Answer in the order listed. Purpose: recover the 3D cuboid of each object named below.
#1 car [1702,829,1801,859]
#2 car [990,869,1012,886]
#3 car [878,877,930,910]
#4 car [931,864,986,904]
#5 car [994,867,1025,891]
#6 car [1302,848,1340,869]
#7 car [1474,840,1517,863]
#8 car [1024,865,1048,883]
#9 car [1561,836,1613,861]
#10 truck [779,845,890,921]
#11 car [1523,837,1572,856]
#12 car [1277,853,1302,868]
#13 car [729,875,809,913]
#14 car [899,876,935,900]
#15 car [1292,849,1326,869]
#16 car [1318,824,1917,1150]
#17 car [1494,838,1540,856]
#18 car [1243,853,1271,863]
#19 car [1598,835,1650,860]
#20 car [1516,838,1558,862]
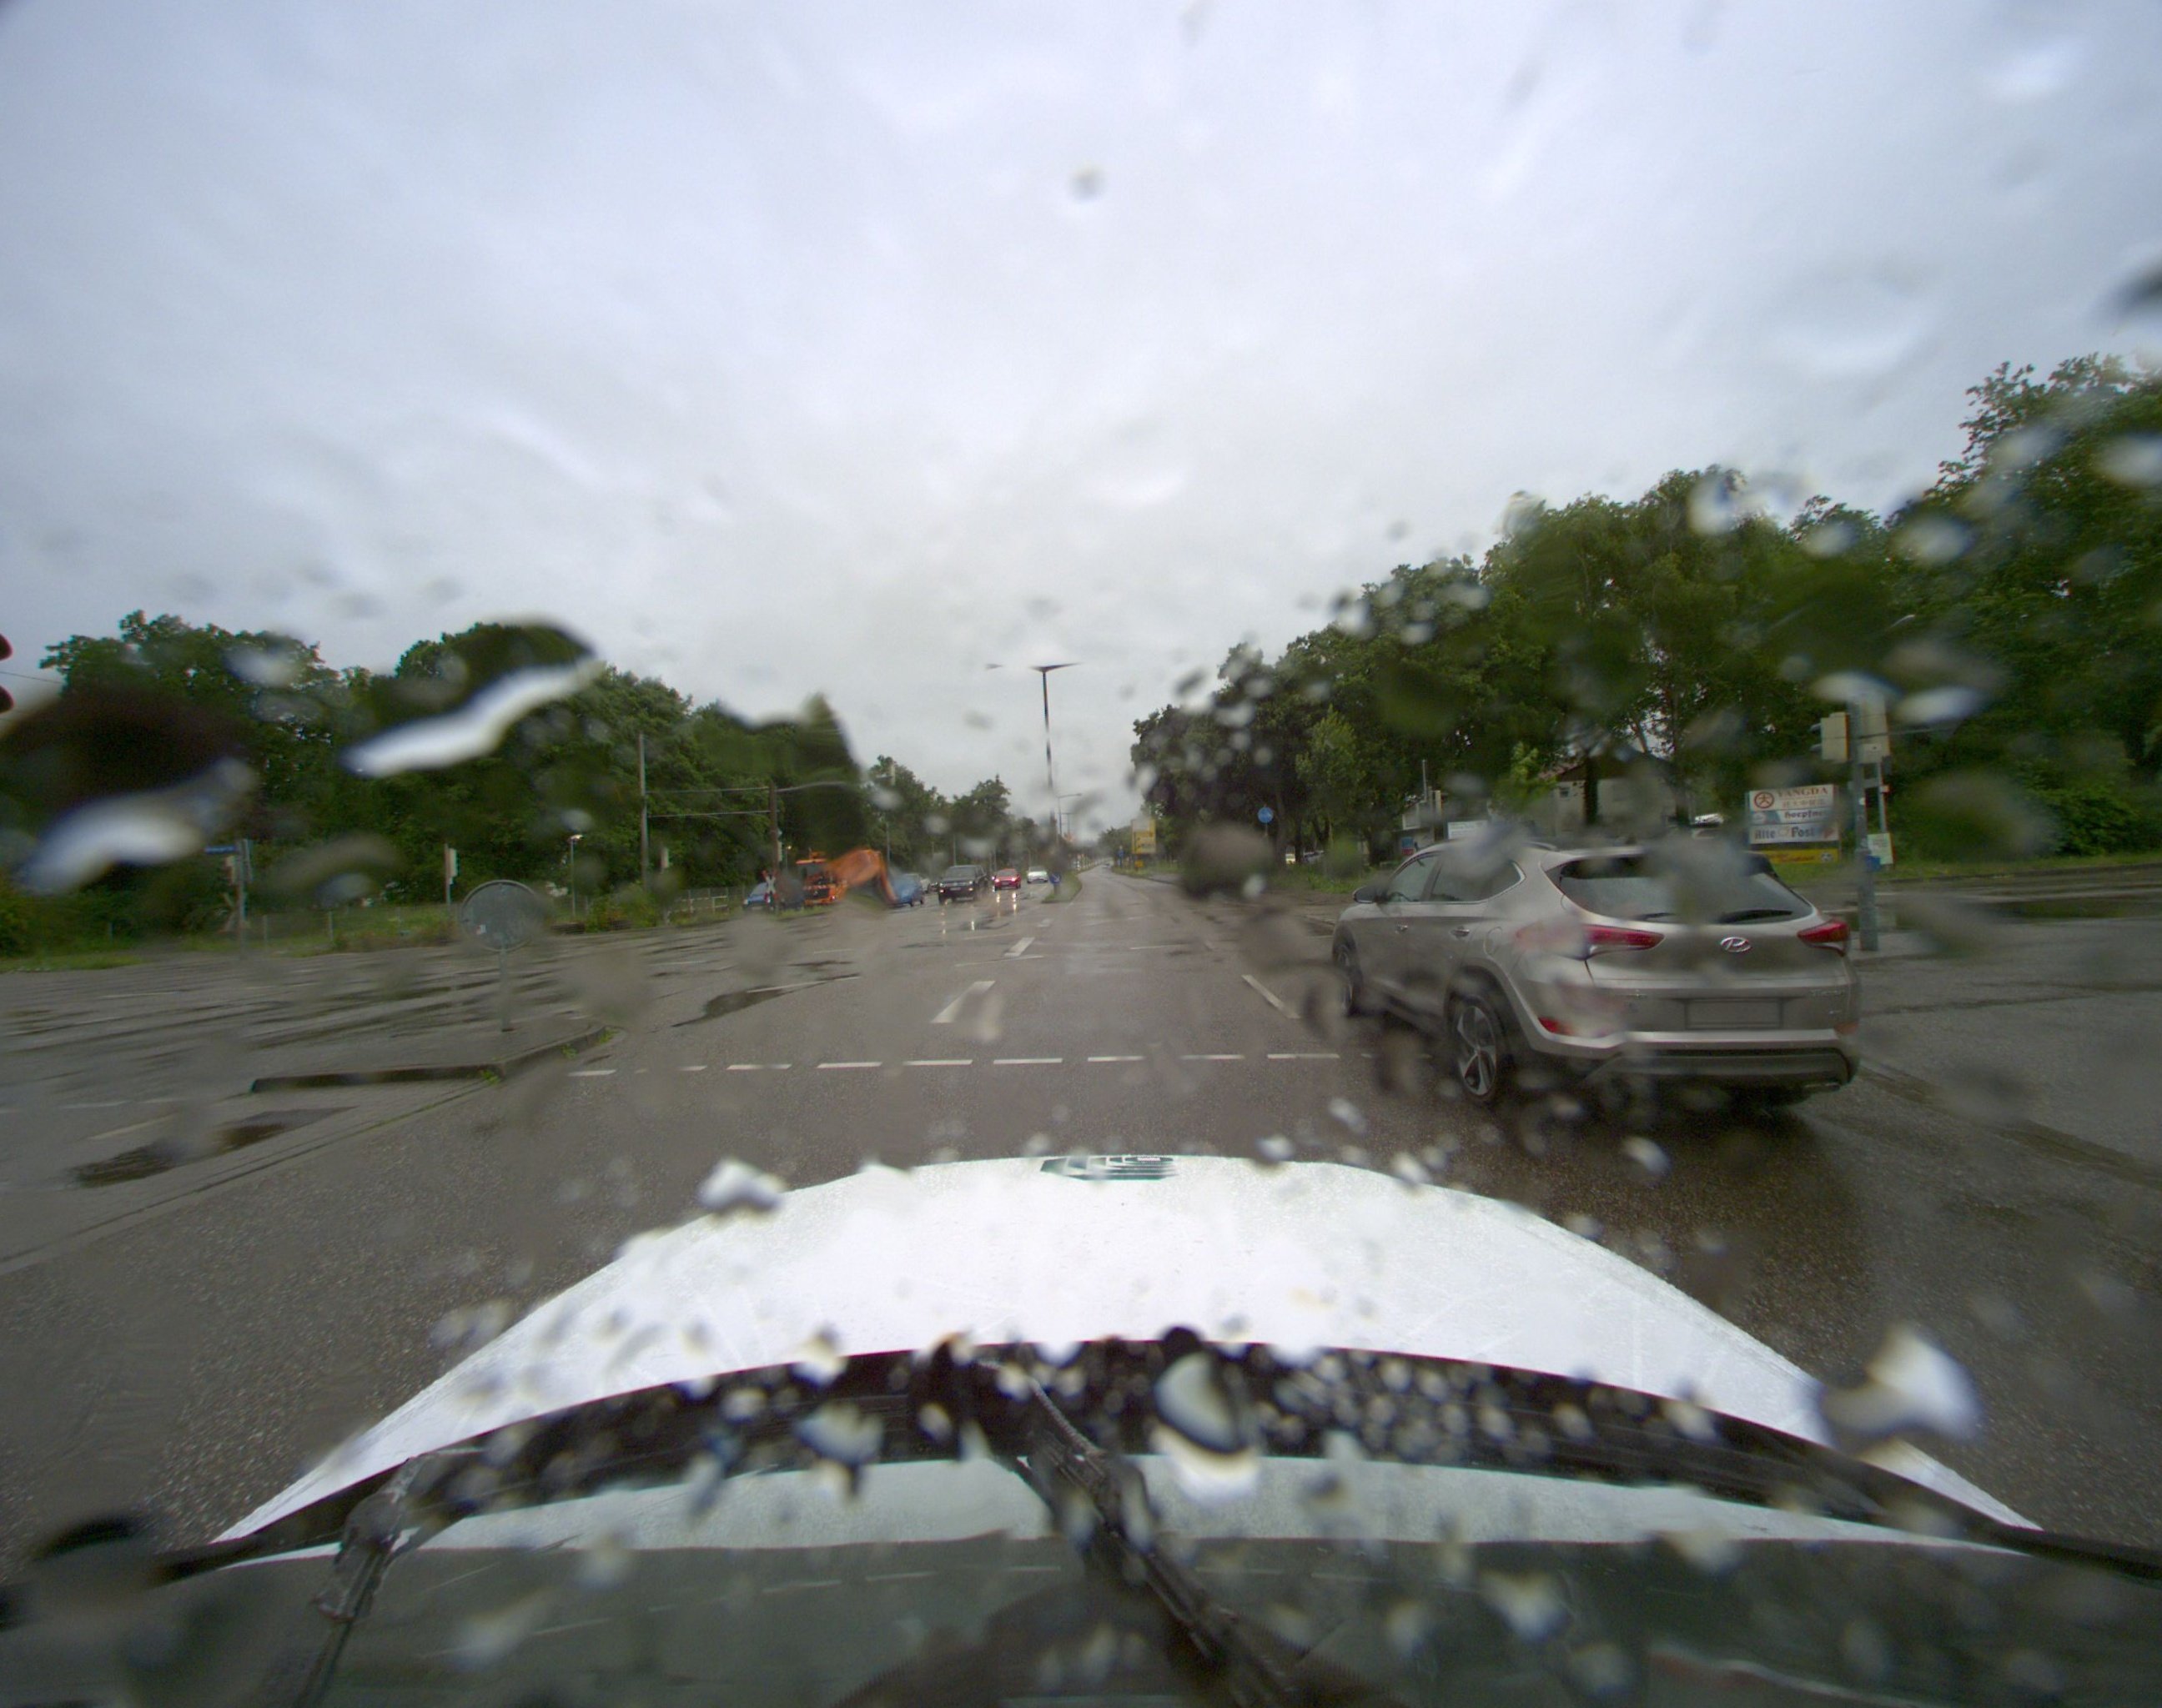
[{"bbox_3d":[34.557,-0.492,42.047,3.694,1.449,1.671,-1,-1,2],"label":"car"},{"bbox_3d":[-8.836,2.618,90.210,1.700,1.642,4.333,-5,-1,2],"label":"car"},{"bbox_3d":[-8.792,1.925,40.668,1.636,1.427,3.998,-5,-1,-1],"label":"car"},{"bbox_3d":[-6.144,1.468,41.492,1.799,1.773,5.090,-4,-1,1],"label":"car"},{"bbox_3d":[-5.381,1.870,61.522,1.795,1.569,4.428,-4,-2,1],"label":"car"},{"bbox_3d":[22.007,0.420,74.844,1.987,1.717,4.876,-3,-1,-1],"label":"car"},{"bbox_3d":[27.283,-0.152,53.585,1.648,1.449,3.775,-2,-2,40],"label":"car"},{"bbox_3d":[-4.367,1.927,79.810,1.954,1.617,4.698,-4,-1,1],"label":"car"},{"bbox_3d":[30.940,-0.311,49.746,3.772,1.449,1.650,0,-2,-41],"label":"car"},{"bbox_3d":[-14.849,1.718,50.217,3.372,4.168,10.408,-1,-1,2],"label":"truck"},{"bbox_3d":[36.927,-0.563,64.552,1.579,1.385,3.998,-1,-1,-1],"label":"car"},{"bbox_3d":[22.536,0.724,88.208,1.632,1.486,4.071,-1,-1,-1],"label":"car"},{"bbox_3d":[-15.206,1.890,39.964,1.985,1.709,4.529,-1,-1,3],"label":"car"},{"bbox_3d":[-13.594,2.791,67.661,1.987,1.828,4.770,-1,-1,0],"label":"car"},{"bbox_3d":[22.466,0.520,80.432,1.988,1.717,4.640,-3,-1,-1],"label":"car"},{"bbox_3d":[3.278,0.671,6.160,1.877,1.610,4.197,-1,0,2],"label":"car"},{"bbox_3d":[34.393,-0.534,64.379,1.567,1.316,3.699,-1,-1,-1],"label":"car"},{"bbox_3d":[31.444,0.727,145.760,4.561,1.645,1.997,-1,-1,-4],"label":"car"},{"bbox_3d":[32.354,-0.368,48.496,3.772,1.449,1.584,0,-2,-41],"label":"car"},{"bbox_3d":[29.197,-0.224,52.076,1.648,1.449,3.775,-2,-2,40],"label":"car"}]
